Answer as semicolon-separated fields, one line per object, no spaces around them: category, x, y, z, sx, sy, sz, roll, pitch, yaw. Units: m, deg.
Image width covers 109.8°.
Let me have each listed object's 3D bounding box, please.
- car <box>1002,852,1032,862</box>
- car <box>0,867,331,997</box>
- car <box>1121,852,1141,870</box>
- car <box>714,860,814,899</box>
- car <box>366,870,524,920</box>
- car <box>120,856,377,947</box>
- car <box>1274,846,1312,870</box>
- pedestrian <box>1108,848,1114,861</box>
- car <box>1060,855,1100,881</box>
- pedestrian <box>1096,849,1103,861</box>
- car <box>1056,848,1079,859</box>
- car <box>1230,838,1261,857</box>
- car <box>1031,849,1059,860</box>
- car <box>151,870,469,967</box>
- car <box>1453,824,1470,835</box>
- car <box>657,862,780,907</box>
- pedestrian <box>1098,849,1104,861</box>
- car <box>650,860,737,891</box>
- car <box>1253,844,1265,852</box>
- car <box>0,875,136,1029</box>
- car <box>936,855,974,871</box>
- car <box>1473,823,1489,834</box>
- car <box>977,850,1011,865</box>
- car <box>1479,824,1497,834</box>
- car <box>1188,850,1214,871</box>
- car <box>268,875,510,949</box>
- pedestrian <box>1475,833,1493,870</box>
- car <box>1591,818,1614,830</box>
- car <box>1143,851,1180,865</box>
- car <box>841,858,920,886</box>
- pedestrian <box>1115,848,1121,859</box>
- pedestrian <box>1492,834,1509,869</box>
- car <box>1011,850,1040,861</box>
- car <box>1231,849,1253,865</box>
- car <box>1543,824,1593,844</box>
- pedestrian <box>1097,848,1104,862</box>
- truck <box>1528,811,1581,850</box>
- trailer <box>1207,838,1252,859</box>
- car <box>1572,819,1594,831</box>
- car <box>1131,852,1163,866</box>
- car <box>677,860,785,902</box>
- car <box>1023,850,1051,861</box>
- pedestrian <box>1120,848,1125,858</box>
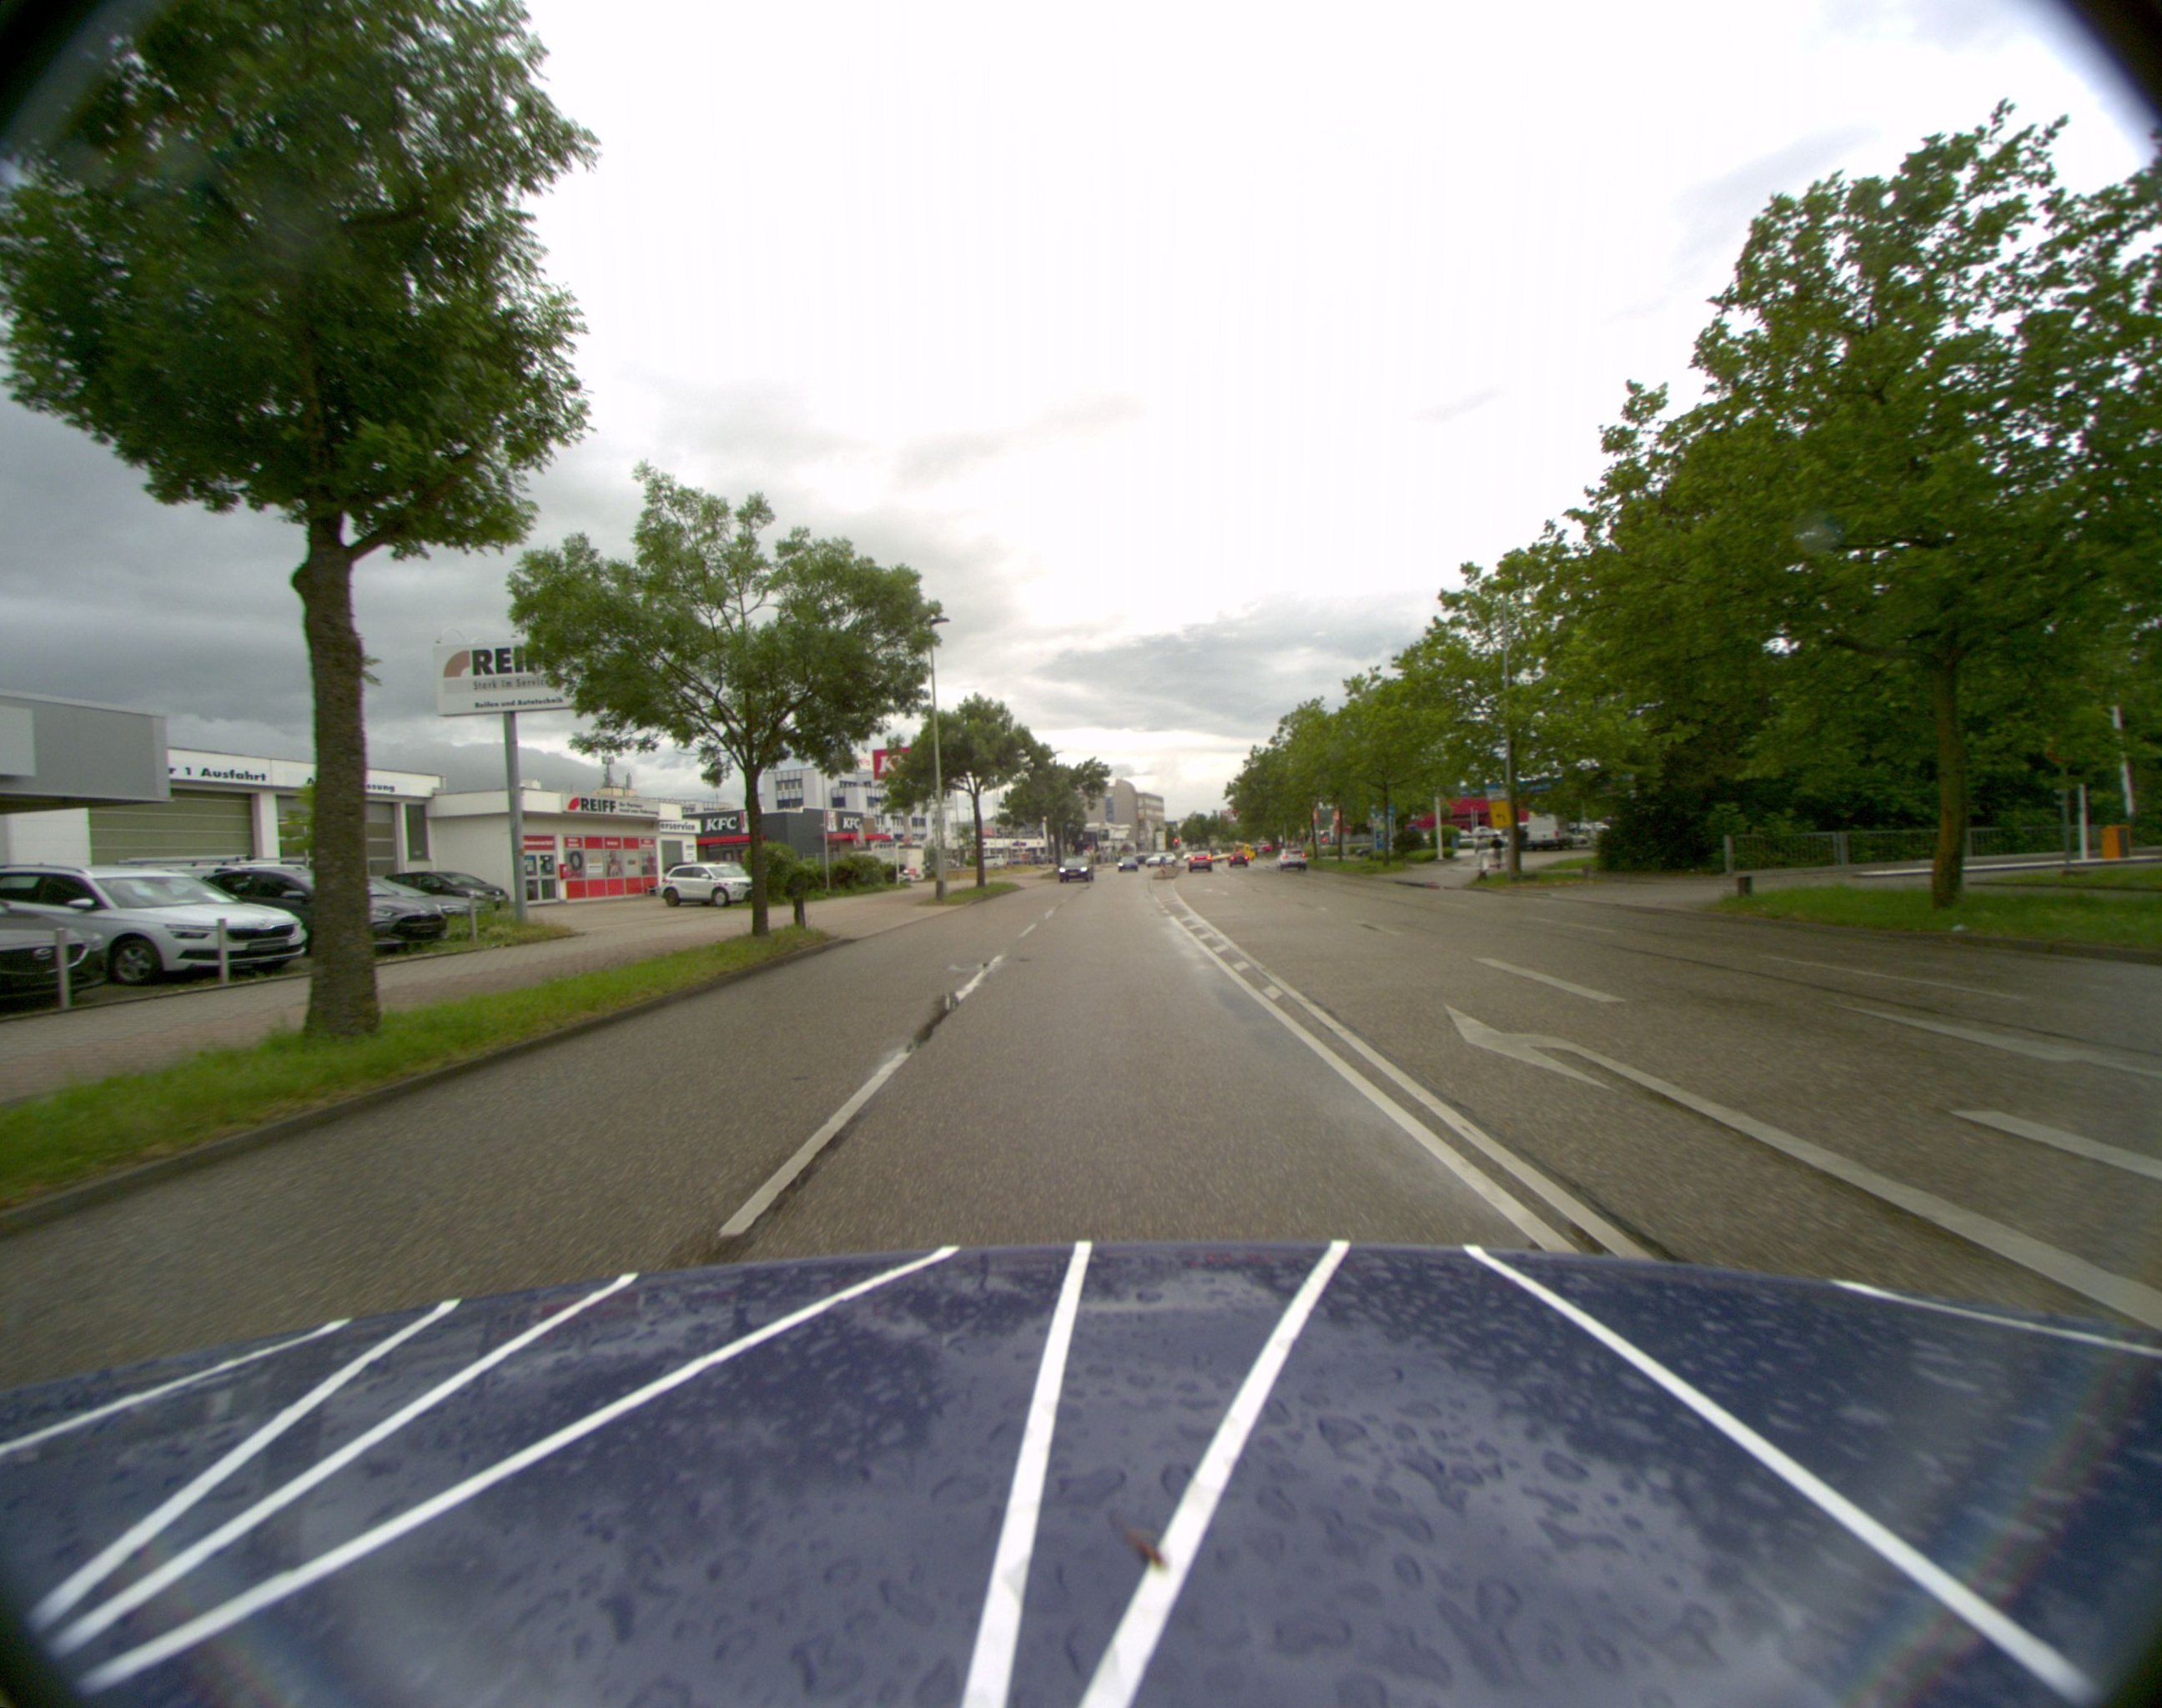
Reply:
car;-10.365;0.506;122.529;4.366;1.385;1.826;-2;0;18
car;-13.697;1.046;11.010;3.995;1.534;1.812;2;1;4
car;4.852;0.635;73.195;1.799;1.623;4.553;-2;0;6
car;-14.174;1.146;33.930;4.145;1.652;1.825;-2;-1;26
car;-22.913;1.455;27.499;4.064;1.494;1.985;-3;0;3
car;-21.916;1.202;20.138;4.664;2.137;1.965;-2;0;2
car;15.709;0.244;56.493;1.932;1.610;4.400;-2;1;6
pedestrian;4.740;0.088;119.173;0.740;2.002;0.698;-2;0;13
car;-0.011;0.866;49.423;1.899;1.544;4.595;-2;0;9
pedestrian;2.884;0.177;115.686;0.817;1.765;0.696;-2;2;-25
car;-2.559;-0.172;146.486;3.991;2.002;1.914;-2;0;21
car;22.963;-0.957;105.816;2.241;2.459;5.025;-5;-2;36
car;-6.410;0.107;135.007;4.366;1.895;1.899;-2;0;18
car;-13.570;1.096;13.550;3.842;1.453;1.828;2;0;2
car;60.712;-3.920;121.237;1.670;1.636;3.831;-2;0;17
car;-13.743;1.149;28.845;4.058;1.588;1.988;-2;0;23
pedestrian;3.074;0.102;117.130;0.814;1.846;0.698;0;3;19
car;-21.522;1.165;42.279;3.855;1.470;1.788;-3;1;5
car;34.429;-1.115;147.040;1.785;1.396;4.005;-2;0;19
car;-13.666;1.045;8.568;3.995;1.575;1.812;2;1;4
car;-15.859;1.142;95.626;4.241;1.772;1.801;-2;-2;14
car;63.780;-4.028;121.219;1.629;1.636;3.831;-2;0;17
car;-13.191;0.550;115.213;4.777;2.002;2.003;-2;0;19
car;62.725;-3.854;117.201;1.670;1.373;3.914;-2;0;17
car;9.829;0.506;62.512;1.815;1.553;4.600;-2;1;6
car;-15.626;1.265;17.367;3.690;1.455;1.792;-1;0;-8
pedestrian;19.759;-0.118;37.225;0.665;1.756;0.584;-3;1;25
car;76.691;-4.405;111.746;1.670;1.636;3.831;-2;0;17
car;9.425;0.440;89.115;4.006;1.544;1.897;-2;0;-32
car;-12.109;1.081;46.015;4.181;1.543;1.891;-2;0;11
pedestrian;6.232;-0.089;128.328;0.700;1.701;0.698;-2;0;19
pedestrian;20.509;-0.130;37.164;0.513;1.673;0.540;-2;1;4
car;-9.337;0.258;128.506;4.366;1.753;1.899;-2;0;18
car;15.876;0.267;75.144;1.997;1.499;4.734;-1;0;10
car;47.737;-1.961;74.542;3.698;1.787;1.813;-2;1;-2
pedestrian;2.916;0.141;113.811;0.817;2.002;0.696;-2;1;-25
truck;35.545;-1.675;56.931;2.149;2.659;7.889;-2;0;41
trailer;19.930;-0.786;101.588;2.305;2.459;7.987;-5;-2;38
car;73.948;-4.306;111.986;1.670;1.636;3.831;-2;0;17
car;8.524;0.609;97.729;3.994;1.532;1.815;-2;2;9
car;-14.495;1.142;31.468;4.145;1.652;1.825;-2;-1;26
car;-7.677;0.230;132.731;4.366;1.753;1.899;-2;0;18
pedestrian;7.160;-0.090;130.942;0.713;1.701;0.698;-2;0;19
